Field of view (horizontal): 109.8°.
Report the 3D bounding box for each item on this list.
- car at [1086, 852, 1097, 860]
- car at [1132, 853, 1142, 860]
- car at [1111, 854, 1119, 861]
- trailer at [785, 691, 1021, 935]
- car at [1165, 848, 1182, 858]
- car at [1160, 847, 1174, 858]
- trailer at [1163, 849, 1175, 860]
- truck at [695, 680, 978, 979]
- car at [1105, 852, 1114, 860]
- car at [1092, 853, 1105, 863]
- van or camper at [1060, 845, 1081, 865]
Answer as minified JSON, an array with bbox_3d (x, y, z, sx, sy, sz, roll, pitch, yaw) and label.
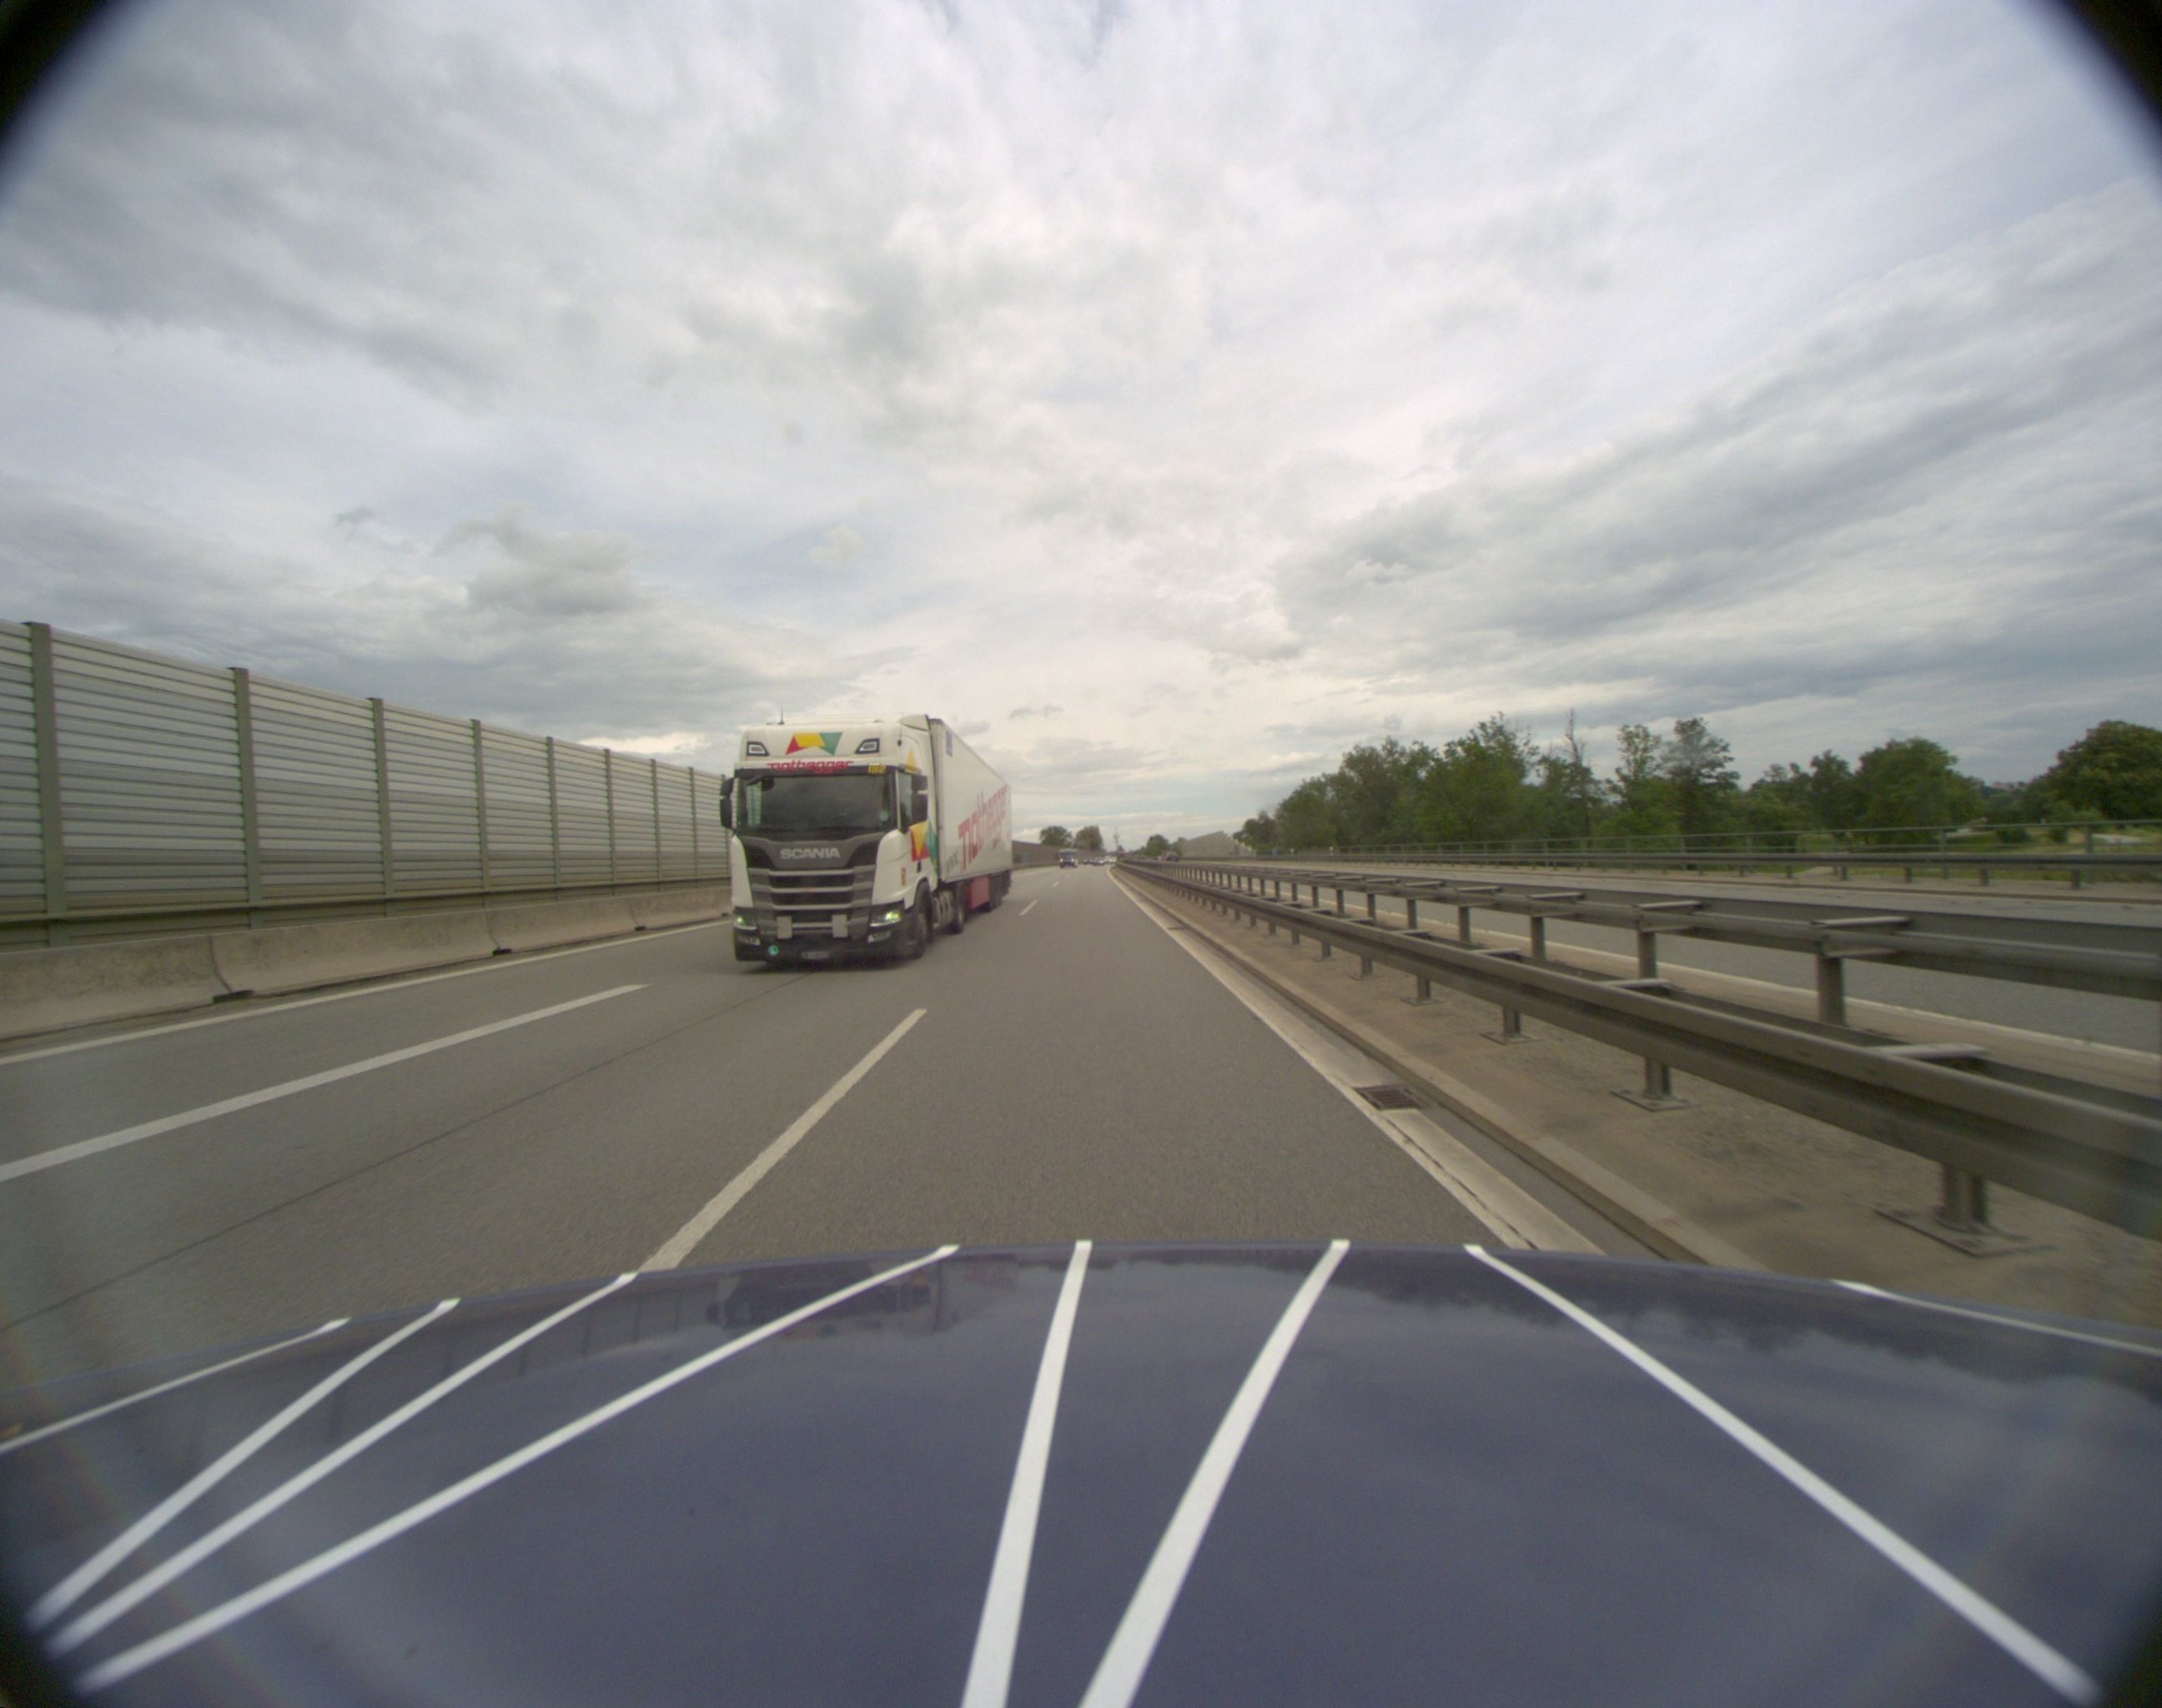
[{"bbox_3d":[2.218,0.503,156.461,1.889,1.608,4.002,-1,-1,5],"label":"car"},{"bbox_3d":[11.656,0.493,158.520,1.845,1.522,4.836,-1,0,2],"label":"car"},{"bbox_3d":[8.477,0.889,191.238,1.889,1.608,4.000,-2,1,4],"label":"car"},{"bbox_3d":[-3.631,-0.686,20.208,2.800,4.150,14.103,-2,0,0],"label":"trailer"},{"bbox_3d":[13.120,-0.116,108.405,1.974,1.395,4.710,-1,0,2],"label":"car"},{"bbox_3d":[15.205,-0.223,134.960,1.974,1.751,4.945,-2,0,2],"label":"car"},{"bbox_3d":[15.069,0.106,130.762,1.652,1.738,3.376,-3,0,2],"label":"trailer"},{"bbox_3d":[-3.671,-0.312,13.022,2.762,3.936,5.678,-2,0,2],"label":"truck"},{"bbox_3d":[5.932,0.491,158.129,1.889,1.608,4.002,-1,-1,4],"label":"car"},{"bbox_3d":[2.884,0.691,126.764,1.889,1.608,4.002,-1,-1,5],"label":"car"},{"bbox_3d":[-1.460,0.174,108.841,2.435,2.680,7.227,-1,-1,2],"label":"van or camper"}]
